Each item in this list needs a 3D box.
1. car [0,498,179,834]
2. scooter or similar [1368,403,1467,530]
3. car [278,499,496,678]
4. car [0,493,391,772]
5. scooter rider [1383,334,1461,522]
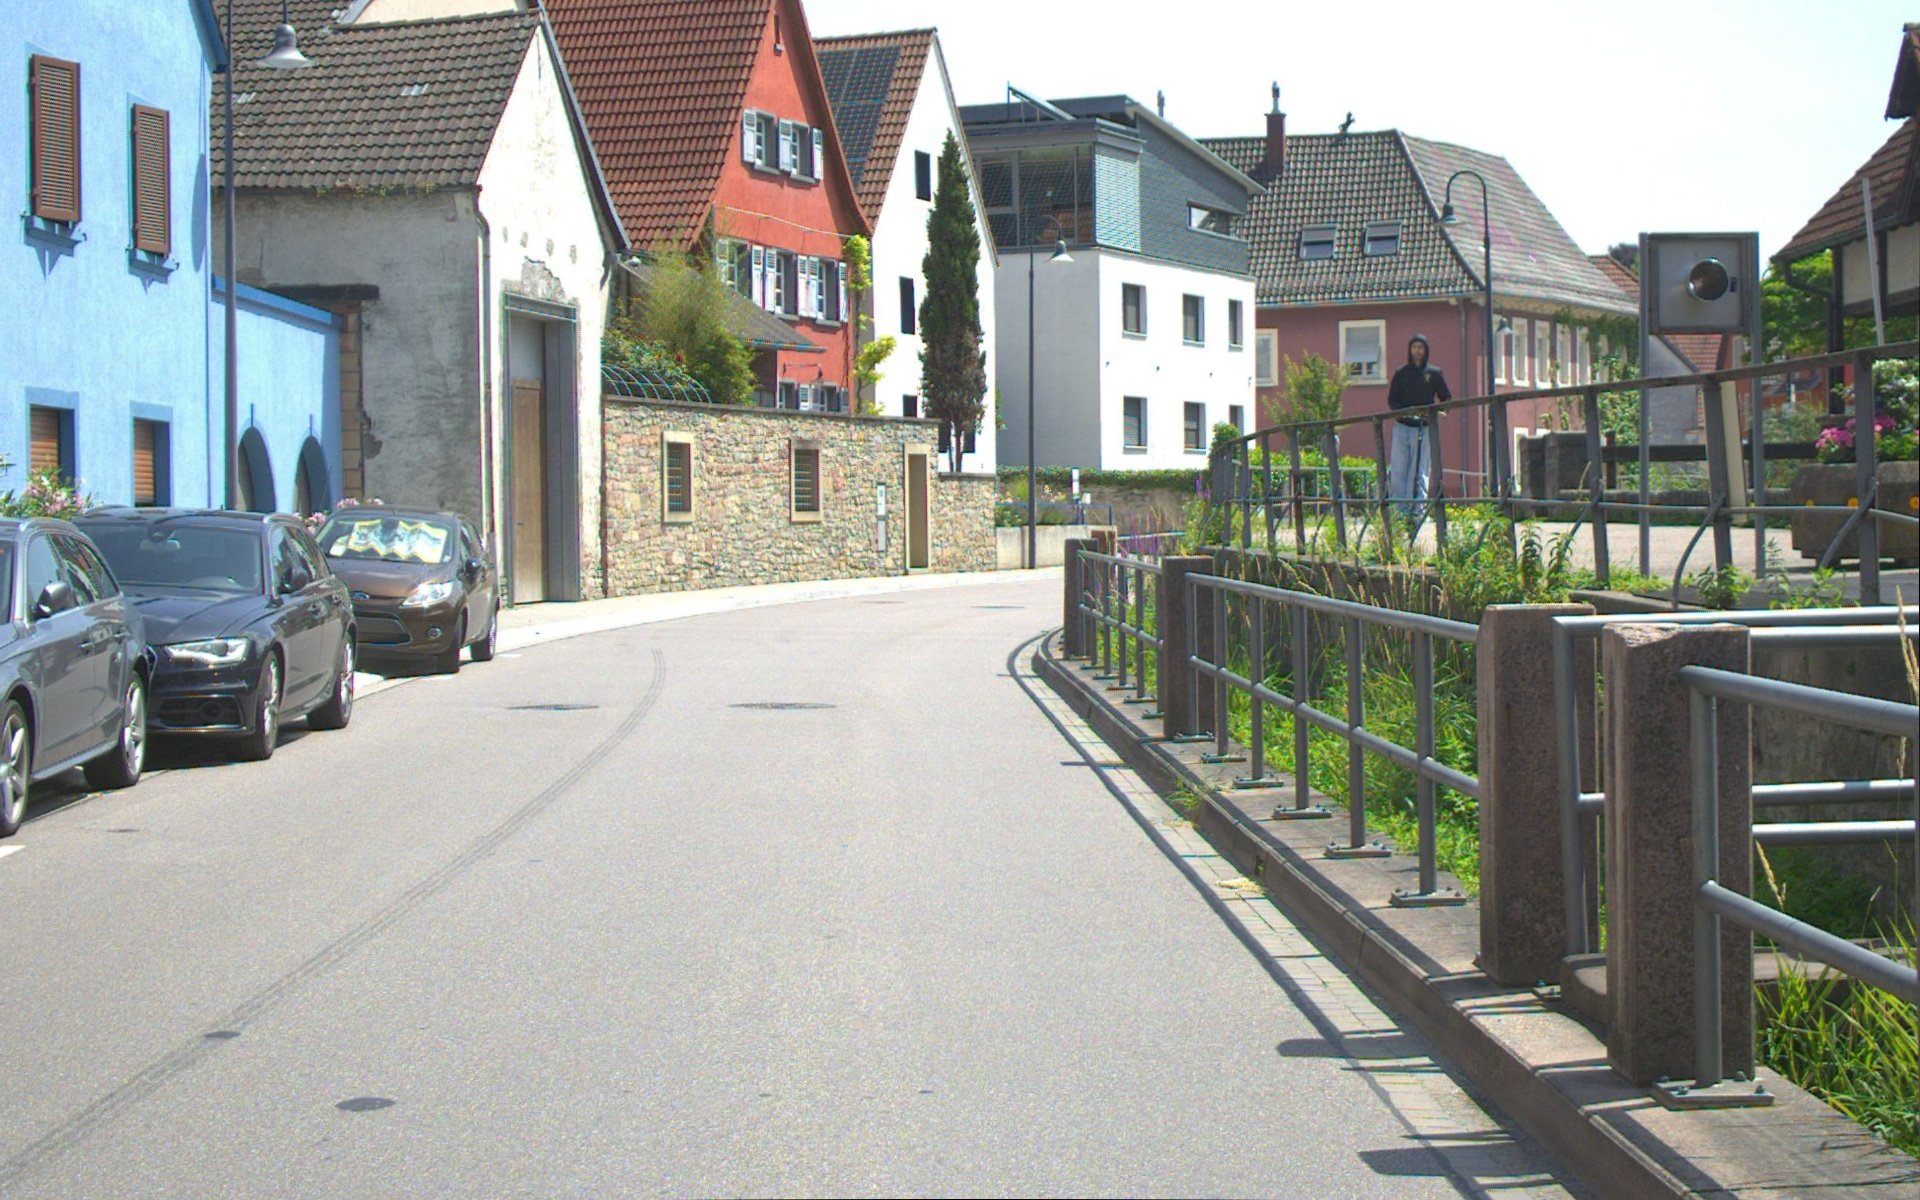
[{"bbox_3d":[-5.231,0.258,16.851,1.956,1.460,4.546,0,1,-3],"label":"car"},{"bbox_3d":[4.275,-1.239,32.217,0.641,1.138,1.812,-2,1,-1],"label":"scooter or similar"},{"bbox_3d":[-5.283,-0.159,32.078,1.717,1.524,3.857,-1,2,-6],"label":"car"},{"bbox_3d":[-4.958,0.112,21.786,1.885,1.459,4.669,3,2,0],"label":"car"},{"bbox_3d":[4.298,-1.594,32.015,0.641,1.726,0.554,0,1,-1],"label":"scooter rider"}]
